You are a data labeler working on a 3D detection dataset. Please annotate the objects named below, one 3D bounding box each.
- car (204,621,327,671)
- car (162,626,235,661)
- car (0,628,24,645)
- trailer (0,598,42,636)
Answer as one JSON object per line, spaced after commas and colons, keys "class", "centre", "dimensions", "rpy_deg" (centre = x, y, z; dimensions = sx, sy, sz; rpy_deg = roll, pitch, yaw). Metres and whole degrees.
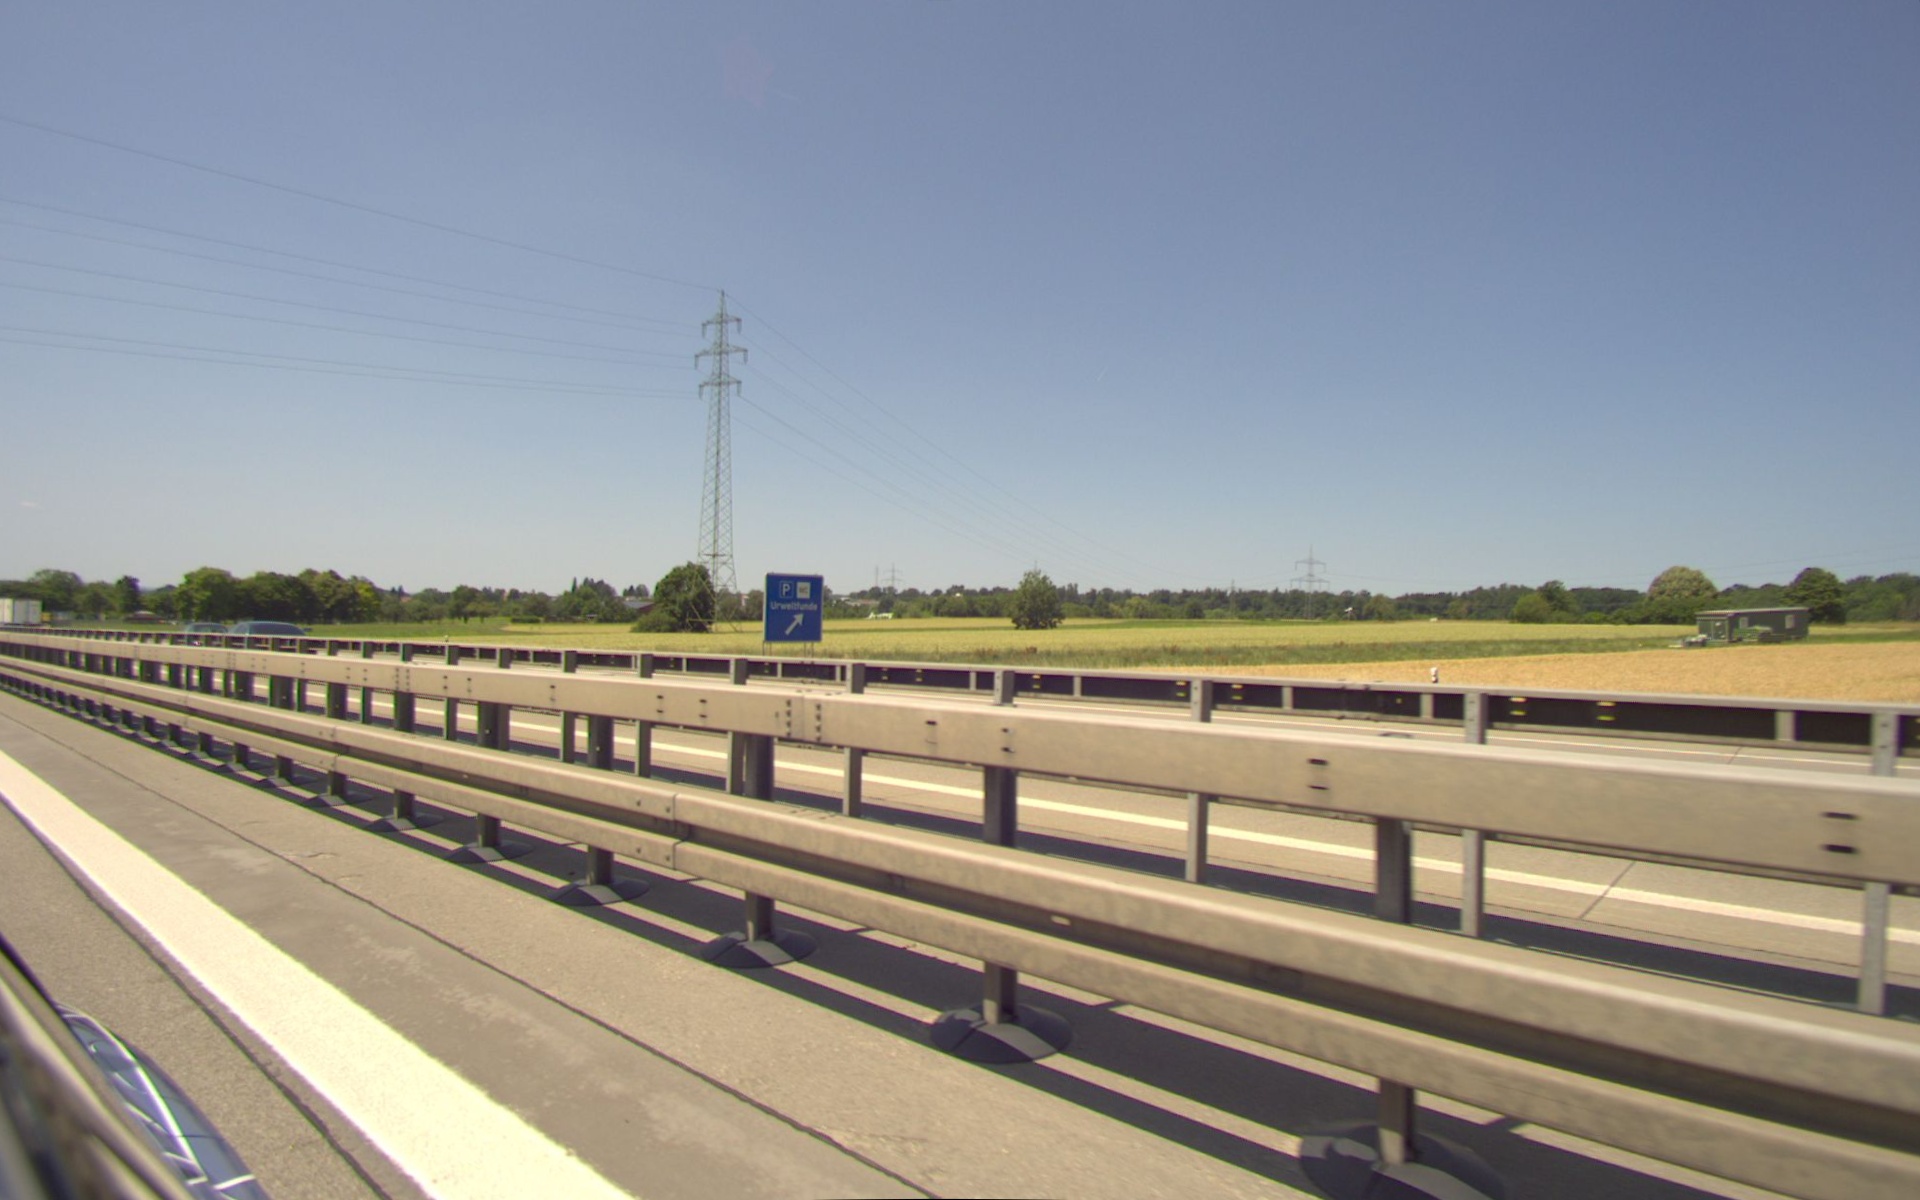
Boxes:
{"class": "car", "centre": [-22.301, 1.451, 32.400], "dimensions": [5.279, 1.451, 1.789], "rpy_deg": [-1, -4, 40]}
{"class": "car", "centre": [-34.450, 1.942, 45.760], "dimensions": [4.563, 1.451, 1.654], "rpy_deg": [0, -3, 41]}
{"class": "car", "centre": [-84.718, 3.280, 90.179], "dimensions": [3.606, 1.436, 1.467], "rpy_deg": [-2, -4, 40]}
{"class": "trailer", "centre": [-106.951, 1.922, 114.797], "dimensions": [11.659, 4.077, 2.803], "rpy_deg": [-1, 0, 41]}
